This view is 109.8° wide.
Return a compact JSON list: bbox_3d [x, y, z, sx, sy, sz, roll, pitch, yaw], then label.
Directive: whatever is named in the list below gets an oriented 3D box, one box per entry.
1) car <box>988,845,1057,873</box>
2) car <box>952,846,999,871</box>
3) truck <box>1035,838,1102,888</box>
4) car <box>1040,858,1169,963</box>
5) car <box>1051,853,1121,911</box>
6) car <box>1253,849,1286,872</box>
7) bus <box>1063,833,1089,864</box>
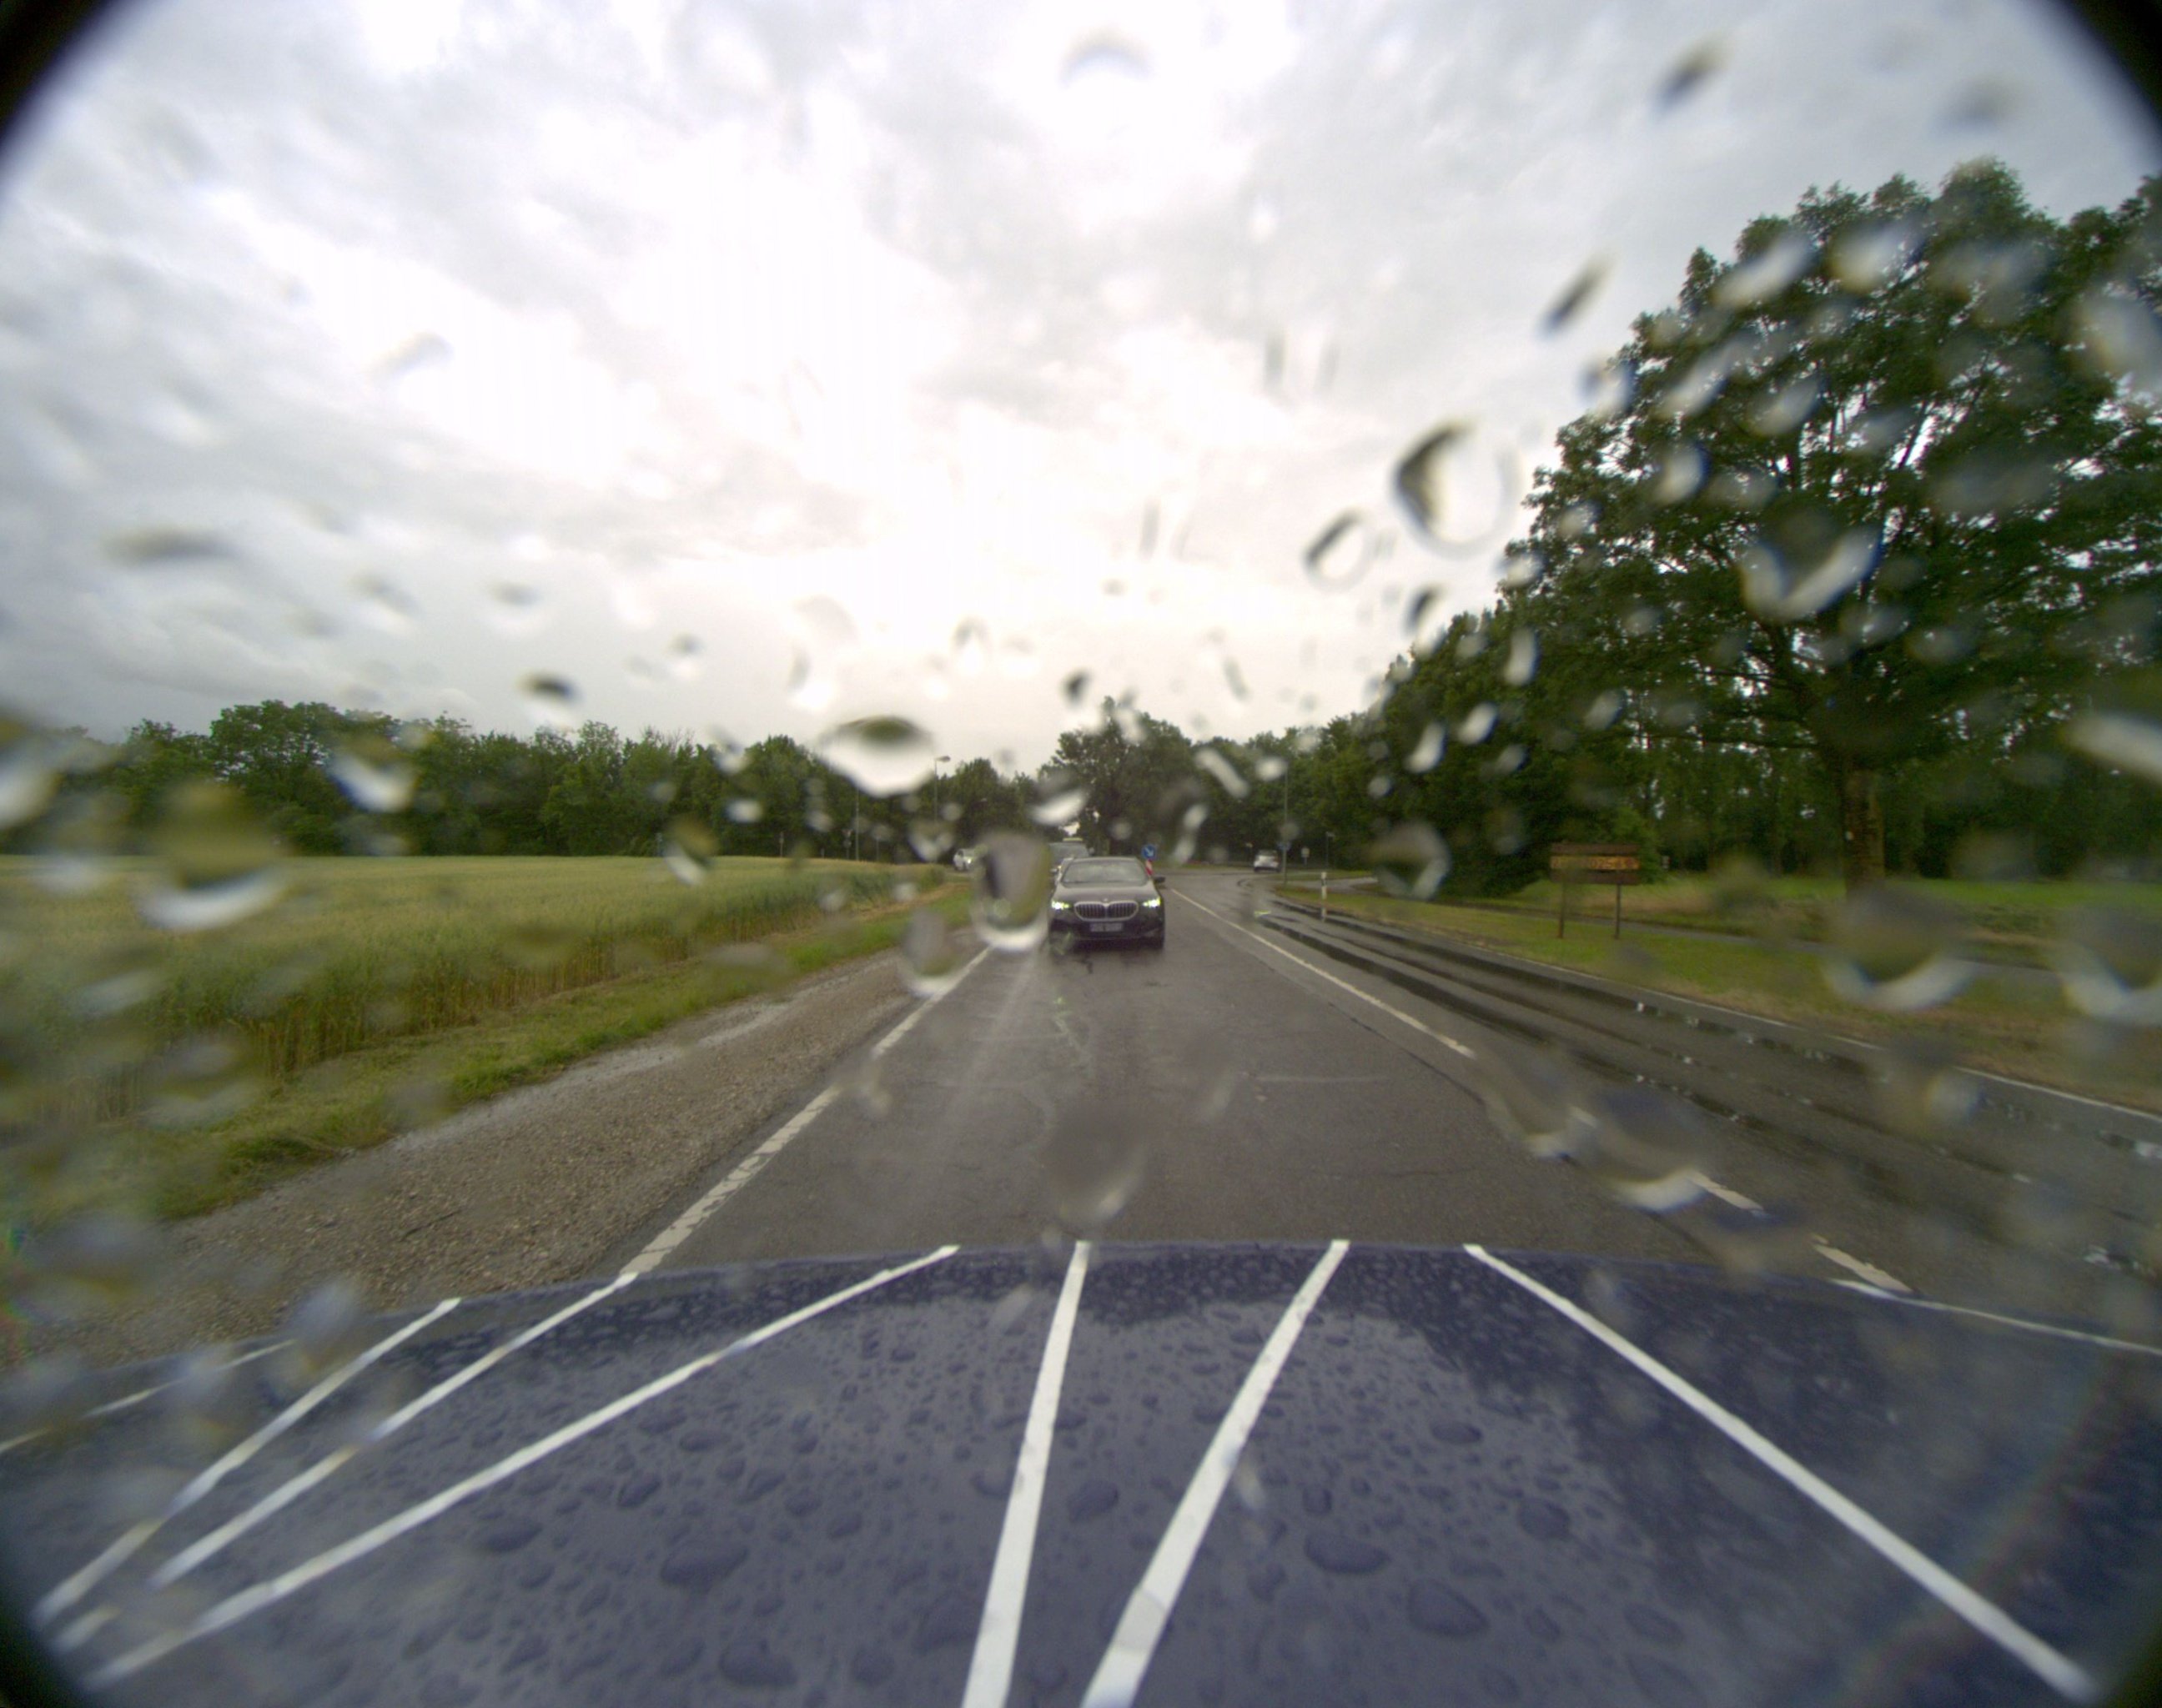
[{"bbox_3d":[-3.515,0.275,44.437,1.896,1.522,5.243,-1,1,-31],"label":"car"},{"bbox_3d":[-6.999,0.283,50.138,1.895,1.522,4.493,-1,0,-24],"label":"car"},{"bbox_3d":[-0.692,0.334,34.698,2.077,2.050,5.763,-2,1,-10],"label":"truck"},{"bbox_3d":[0.363,0.849,13.270,1.892,1.484,4.035,-1,0,0],"label":"car"},{"bbox_3d":[0.064,0.780,23.159,1.892,1.482,4.189,-1,2,-3],"label":"car"},{"bbox_3d":[13.031,0.451,52.442,1.677,1.490,3.740,1,1,21],"label":"car"},{"bbox_3d":[-0.492,-0.654,98.307,2.996,3.665,14.293,1,0,1],"label":"bus"}]
